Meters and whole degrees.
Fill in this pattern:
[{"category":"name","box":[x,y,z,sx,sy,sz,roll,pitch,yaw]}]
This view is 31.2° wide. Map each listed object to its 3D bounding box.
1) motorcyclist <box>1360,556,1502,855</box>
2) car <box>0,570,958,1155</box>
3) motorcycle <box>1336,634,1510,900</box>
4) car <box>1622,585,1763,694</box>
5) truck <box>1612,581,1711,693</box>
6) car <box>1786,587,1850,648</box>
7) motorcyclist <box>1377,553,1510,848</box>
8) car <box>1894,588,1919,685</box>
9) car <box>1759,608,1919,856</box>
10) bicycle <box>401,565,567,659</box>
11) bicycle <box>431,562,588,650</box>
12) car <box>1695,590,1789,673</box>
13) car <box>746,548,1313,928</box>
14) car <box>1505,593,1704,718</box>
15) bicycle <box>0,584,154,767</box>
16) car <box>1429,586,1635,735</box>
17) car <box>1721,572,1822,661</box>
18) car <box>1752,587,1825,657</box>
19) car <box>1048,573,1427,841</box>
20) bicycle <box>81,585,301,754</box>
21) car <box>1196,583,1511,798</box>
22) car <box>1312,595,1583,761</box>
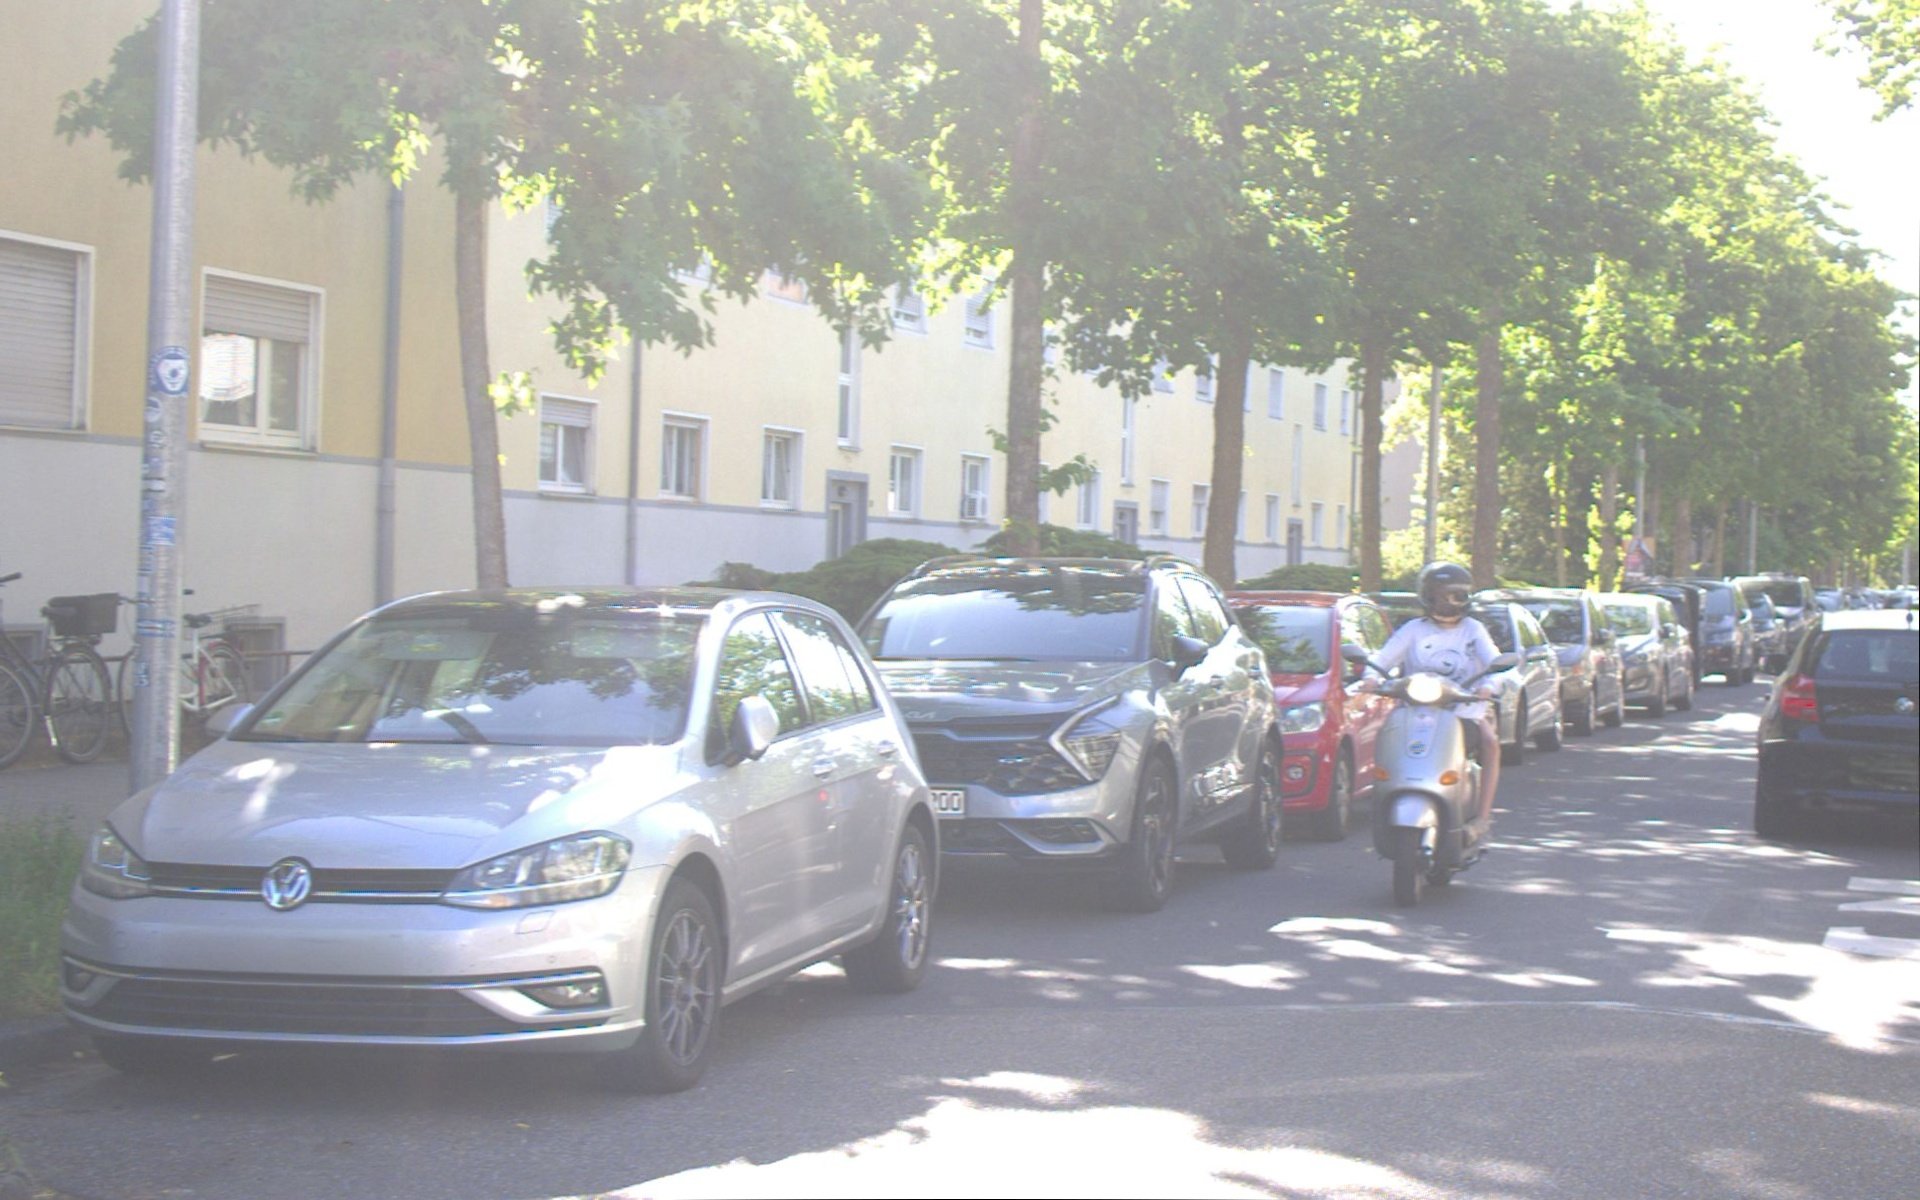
[{"category":"motorcyclist","box":[2.276,0.497,16.585,0.553,1.398,0.519,2,1,16]},{"category":"car","box":[-1.347,0.659,10.927,1.761,1.437,3.992,2,1,13]},{"category":"motorcycle","box":[2.246,0.770,16.543,0.553,1.171,1.631,2,1,16]},{"category":"car","box":[11.854,0.607,55.407,1.851,1.675,4.972,0,0,16]},{"category":"truck","box":[10.422,0.532,51.007,1.085,1.572,2.429,2,1,19]},{"category":"car","box":[24.355,0.486,97.494,1.613,1.673,4.231,1,0,16]},{"category":"motorcyclist","box":[2.401,0.489,17.059,0.544,1.421,0.403,2,1,16]},{"category":"car","box":[15.176,0.559,52.586,1.650,1.421,3.998,2,1,15]},{"category":"car","box":[5.966,0.777,21.538,1.651,1.392,3.409,2,1,16]},{"category":"bicycle","box":[-4.975,0.122,35.911,1.633,0.927,0.481,2,1,14]},{"category":"bicycle","box":[-4.982,0.064,38.054,1.633,0.927,0.481,2,1,9]},{"category":"car","box":[15.245,0.596,66.863,1.508,1.543,4.774,0,0,16]},{"category":"car","box":[0.517,0.570,17.065,1.692,1.559,4.732,2,1,15]},{"category":"car","box":[8.017,0.637,42.474,1.793,1.439,4.683,1,0,18]},{"category":"bicycle","box":[-5.466,0.428,20.258,0.541,1.023,1.746,2,1,18]},{"category":"car","box":[6.234,0.615,37.153,1.621,1.510,4.265,0,0,17]},{"category":"car","box":[18.214,0.359,77.051,1.828,1.898,5.137,1,0,17]},{"category":"car","box":[19.855,0.513,82.316,1.613,1.606,4.227,1,0,14]},{"category":"car","box":[1.803,0.605,21.461,1.666,1.481,3.253,2,1,17]},{"category":"bicycle","box":[-4.923,0.429,22.112,0.536,1.023,1.746,2,1,18]},{"category":"car","box":[3.074,0.623,26.192,1.666,1.454,3.929,2,1,17]},{"category":"car","box":[4.541,0.652,31.466,1.747,1.364,4.670,1,0,17]}]
